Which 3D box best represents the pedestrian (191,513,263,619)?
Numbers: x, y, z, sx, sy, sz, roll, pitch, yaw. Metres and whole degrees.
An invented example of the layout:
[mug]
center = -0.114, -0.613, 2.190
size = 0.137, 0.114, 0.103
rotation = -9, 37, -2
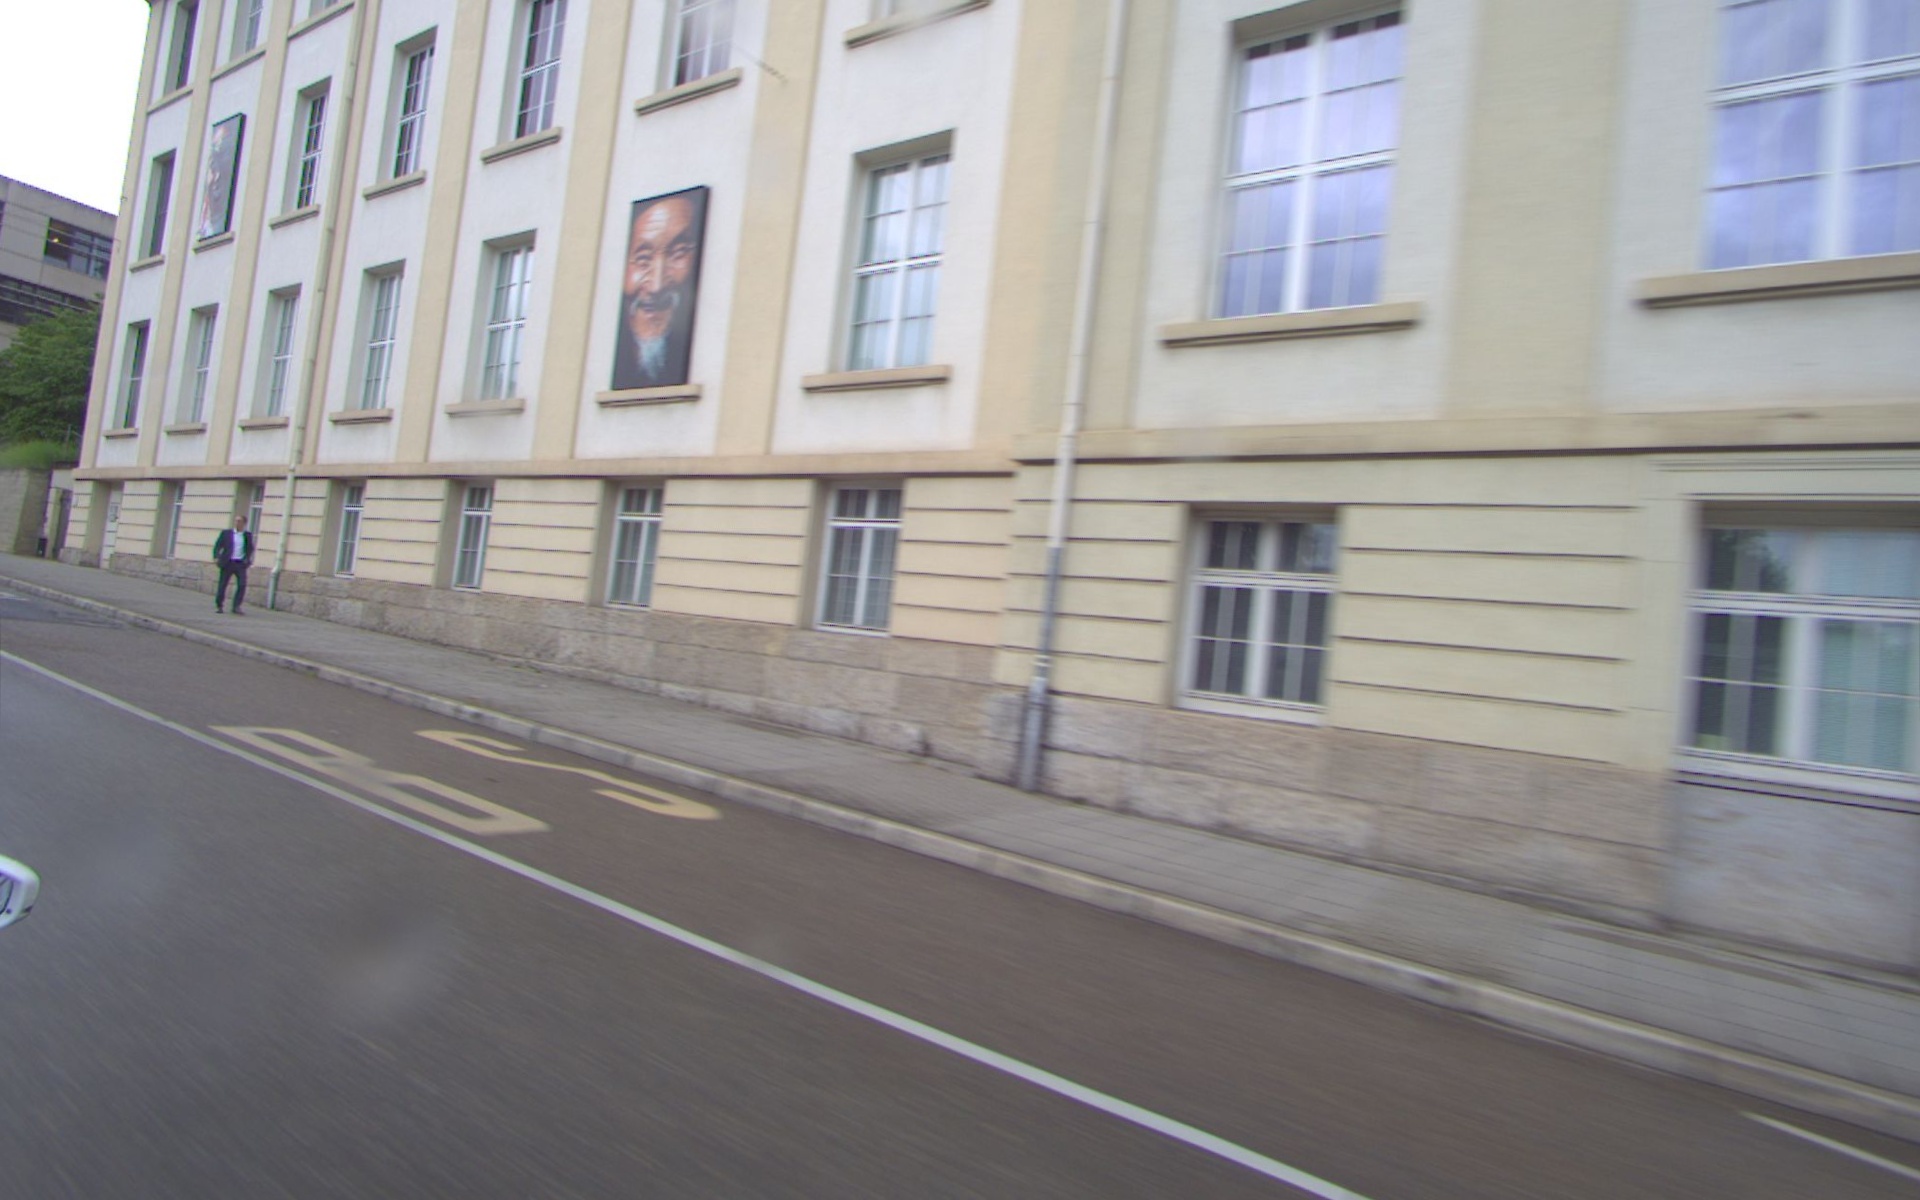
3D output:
[pedestrian]
center = -13.538, -0.626, 18.587
size = 0.838, 1.819, 0.670
rotation = 6, -1, 35
